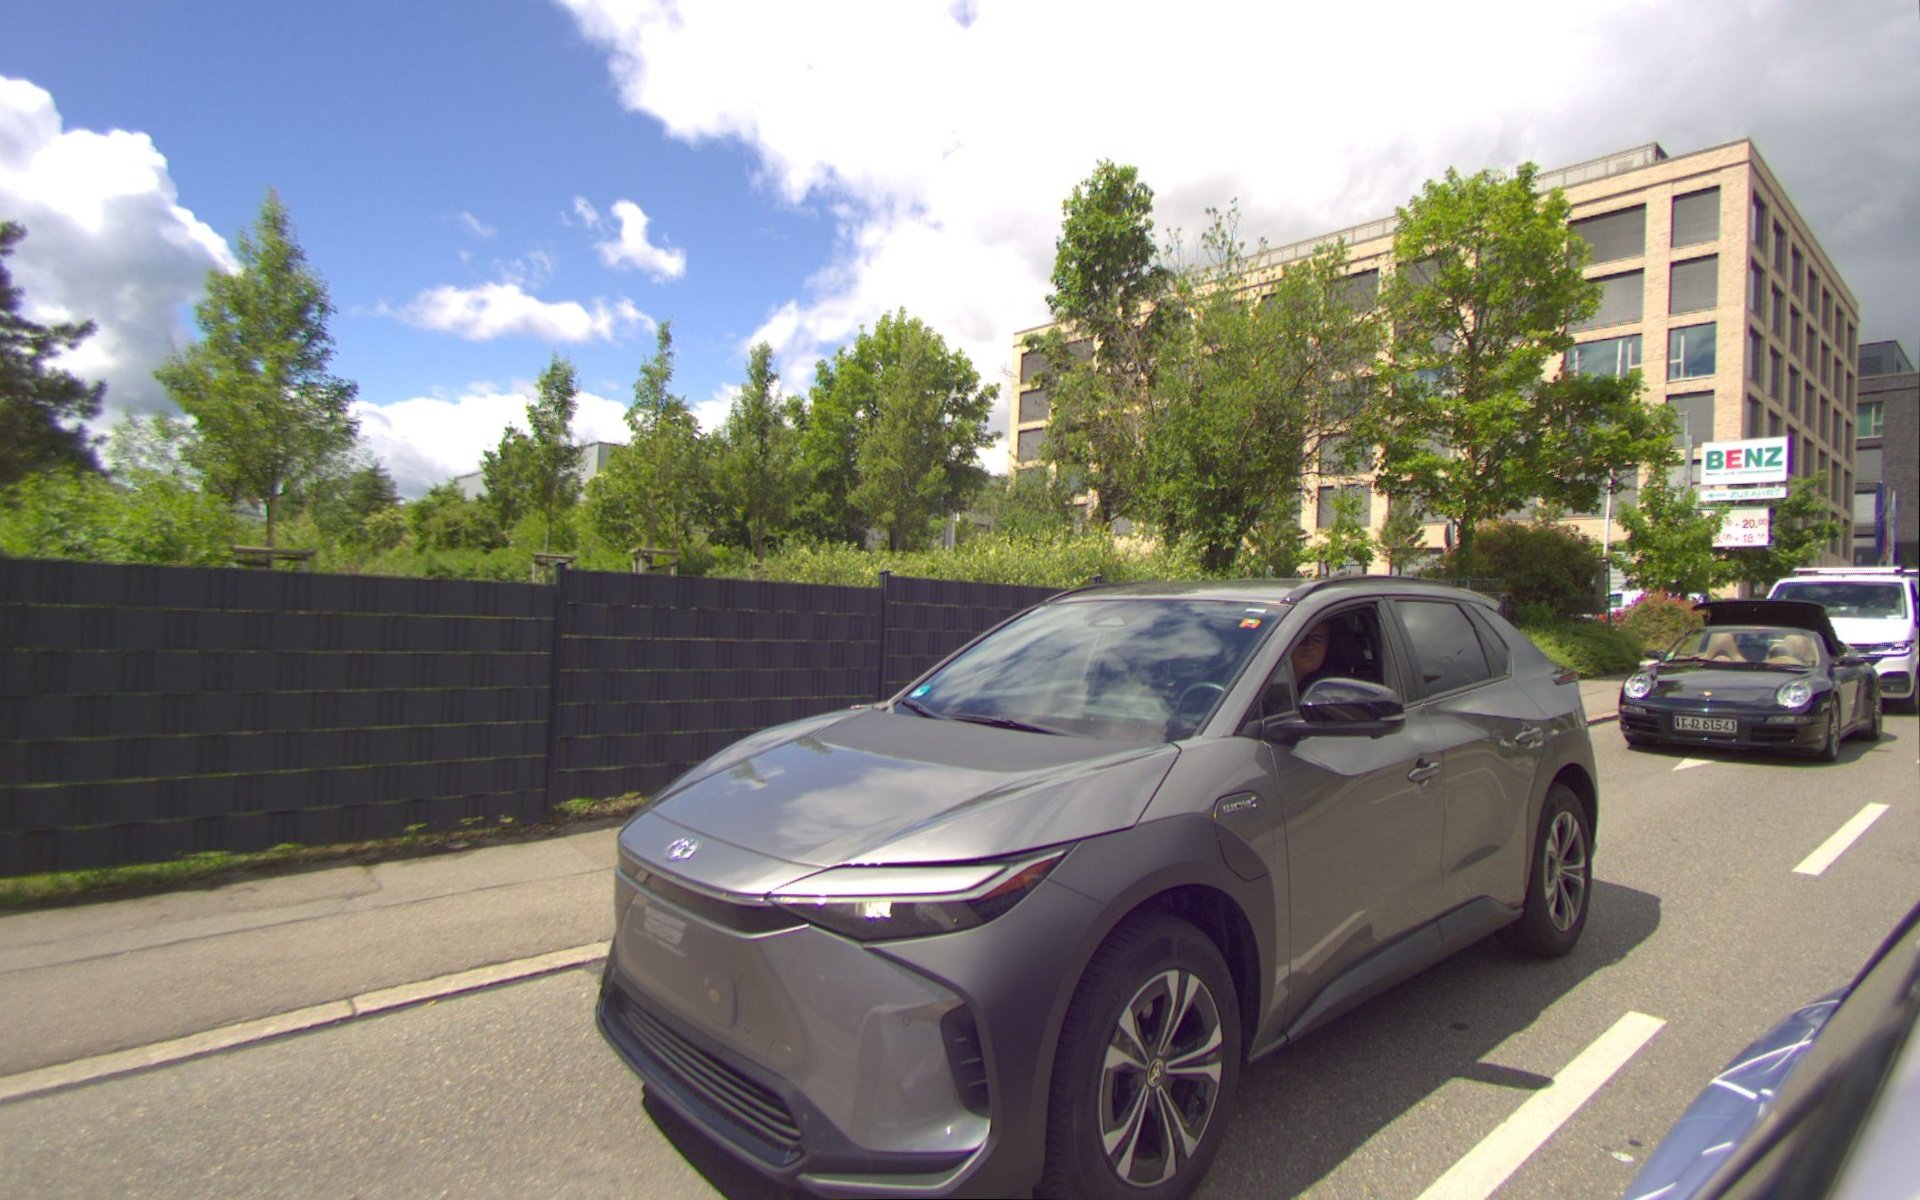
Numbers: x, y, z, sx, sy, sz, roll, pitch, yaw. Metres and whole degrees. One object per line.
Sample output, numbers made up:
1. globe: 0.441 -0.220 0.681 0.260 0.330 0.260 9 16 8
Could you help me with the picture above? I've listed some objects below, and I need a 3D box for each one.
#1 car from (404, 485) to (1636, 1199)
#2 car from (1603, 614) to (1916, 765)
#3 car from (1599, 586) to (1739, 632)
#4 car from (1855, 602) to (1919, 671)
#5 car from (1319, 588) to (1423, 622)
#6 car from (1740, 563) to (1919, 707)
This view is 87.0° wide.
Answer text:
1. car: 0.697 0.656 3.806 4.601 1.634 1.922 0 -1 -41
2. car: 8.756 0.807 10.933 4.487 1.290 1.776 0 -1 -40
3. car: 27.422 0.325 39.230 1.707 1.596 4.211 1 1 -44
4. car: 20.505 0.727 21.240 4.485 1.290 1.778 0 1 -38
5. car: 19.370 0.223 47.838 1.705 1.436 4.215 1 1 -41
6. car: 13.562 0.471 15.286 4.563 1.874 1.962 0 -1 -41
